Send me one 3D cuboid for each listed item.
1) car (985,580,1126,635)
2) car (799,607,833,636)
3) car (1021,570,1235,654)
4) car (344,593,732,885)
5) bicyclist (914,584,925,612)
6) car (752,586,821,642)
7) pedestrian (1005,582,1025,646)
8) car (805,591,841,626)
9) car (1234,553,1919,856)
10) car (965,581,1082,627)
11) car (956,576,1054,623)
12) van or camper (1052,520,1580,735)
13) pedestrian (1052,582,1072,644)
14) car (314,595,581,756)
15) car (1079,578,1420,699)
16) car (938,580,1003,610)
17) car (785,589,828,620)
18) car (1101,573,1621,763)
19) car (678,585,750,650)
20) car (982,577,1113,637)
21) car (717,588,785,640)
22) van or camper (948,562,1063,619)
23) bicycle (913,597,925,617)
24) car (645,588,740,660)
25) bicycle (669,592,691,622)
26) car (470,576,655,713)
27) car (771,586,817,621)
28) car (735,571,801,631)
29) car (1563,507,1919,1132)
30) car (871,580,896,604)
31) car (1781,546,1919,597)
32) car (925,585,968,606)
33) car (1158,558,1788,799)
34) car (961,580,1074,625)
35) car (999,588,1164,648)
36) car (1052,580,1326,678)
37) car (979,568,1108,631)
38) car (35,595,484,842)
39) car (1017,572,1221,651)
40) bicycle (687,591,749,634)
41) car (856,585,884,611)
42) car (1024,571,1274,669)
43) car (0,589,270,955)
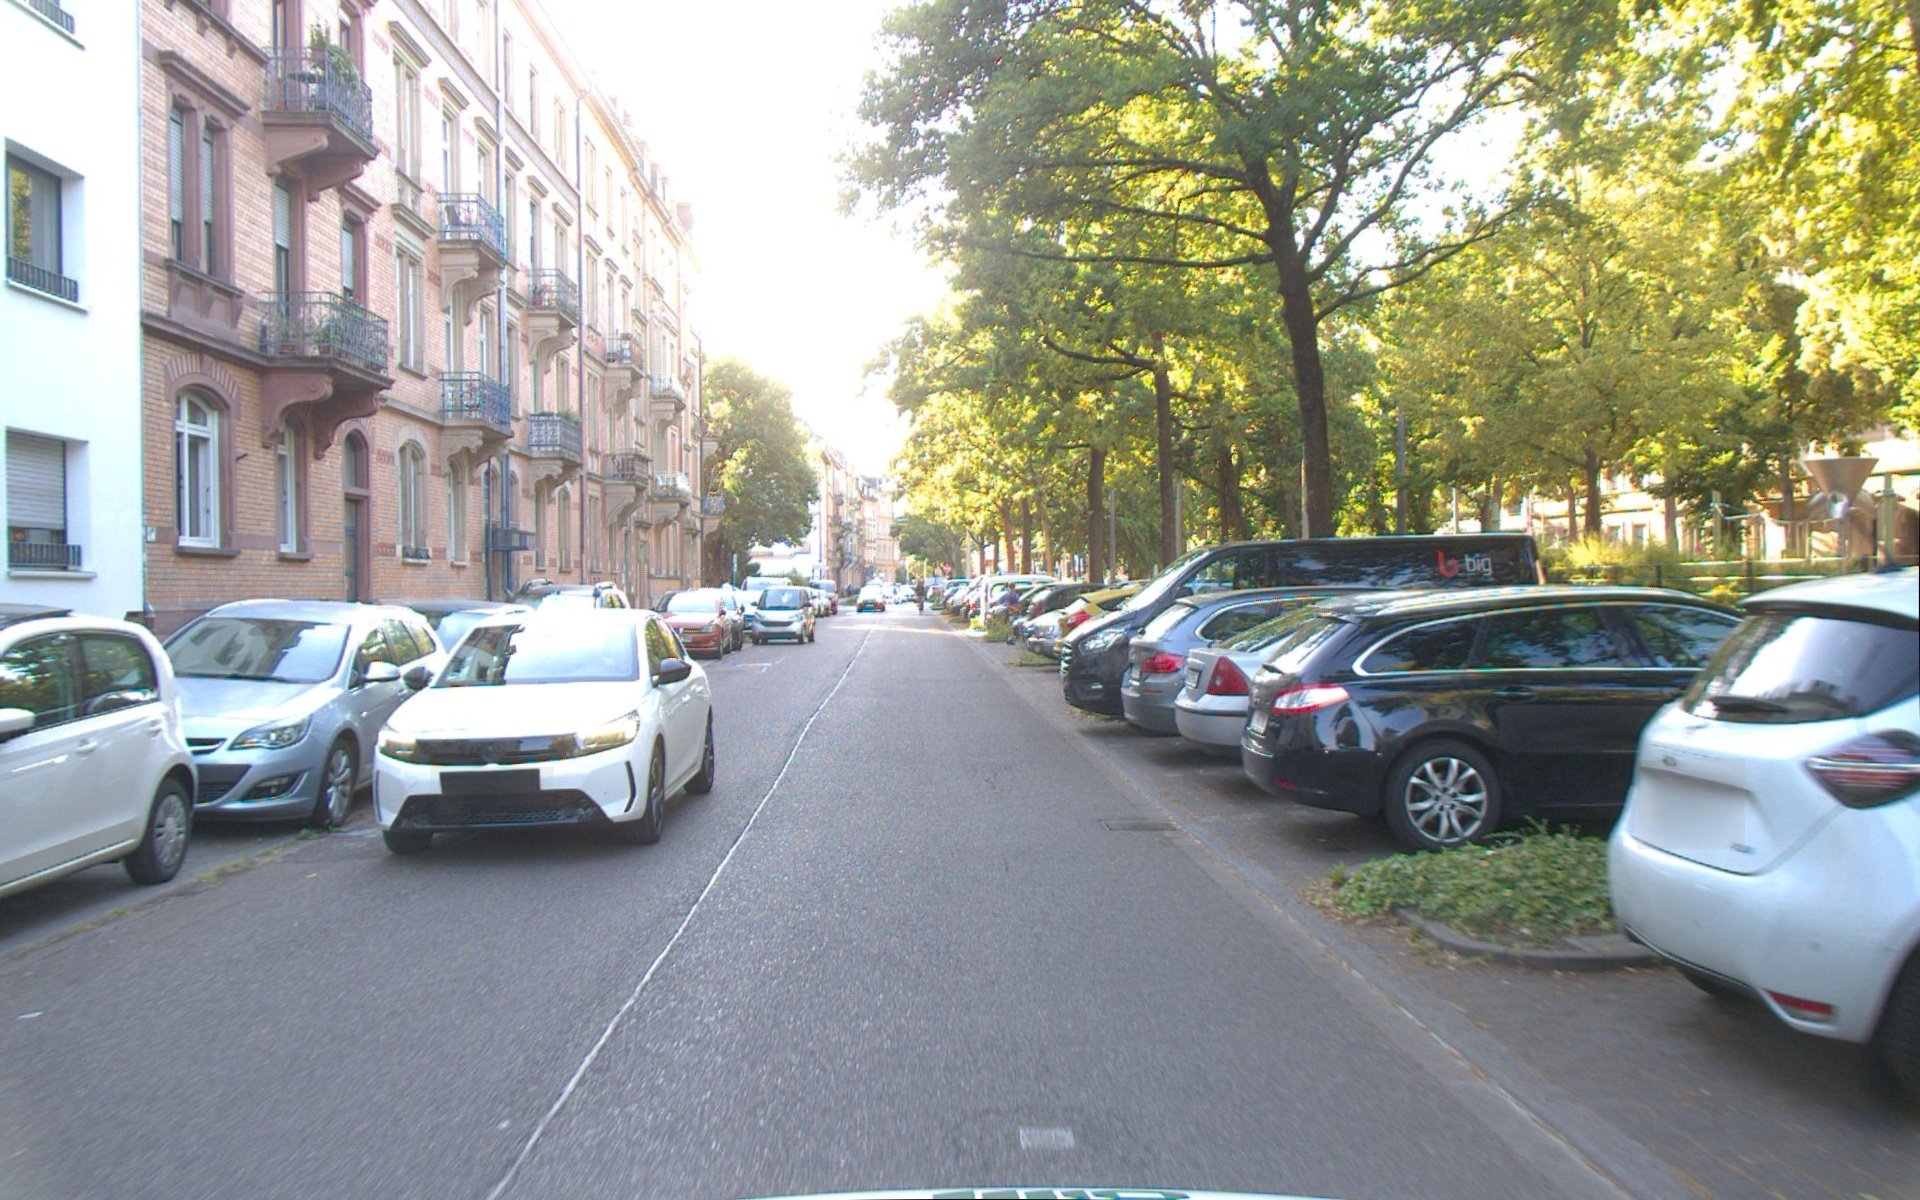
[{"bbox_3d":[2.851,0.217,49.907,4.002,1.467,1.760,-3,0,-5],"label":"car"},{"bbox_3d":[-8.058,1.196,92.946,1.721,1.491,4.266,0,0,-2],"label":"car"},{"bbox_3d":[3.527,0.244,35.220,4.310,1.619,1.837,-2,0,-1],"label":"car"},{"bbox_3d":[-2.651,0.776,11.335,1.635,1.455,4.000,-3,2,-1],"label":"car"},{"bbox_3d":[-2.333,-0.098,94.834,0.615,1.601,0.801,0,-1,-3],"label":"bicyclist"},{"bbox_3d":[-4.822,0.367,46.274,1.473,1.460,2.754,-2,1,3],"label":"car"},{"bbox_3d":[1.405,0.367,42.458,0.372,1.612,0.519,0,2,17],"label":"pedestrian"},{"bbox_3d":[-8.133,0.492,98.479,1.918,2.053,4.266,0,0,-2],"label":"car"},{"bbox_3d":[3.965,0.600,10.136,4.307,1.605,1.665,-2,-1,3],"label":"car"},{"bbox_3d":[2.312,0.142,60.024,4.132,1.478,1.649,-3,0,2],"label":"car"},{"bbox_3d":[1.825,-0.034,67.982,3.906,1.721,1.859,-3,0,-1],"label":"car"},{"bbox_3d":[3.735,0.269,18.101,5.303,2.062,2.030,-2,1,0],"label":"van or camper"},{"bbox_3d":[2.610,0.331,42.320,0.372,1.543,0.519,0,2,17],"label":"pedestrian"},{"bbox_3d":[-5.352,0.717,17.785,1.582,1.477,4.000,1,1,0],"label":"car"},{"bbox_3d":[3.917,0.514,22.859,4.312,1.465,1.836,-2,0,-3],"label":"car"},{"bbox_3d":[0.660,-0.317,102.790,3.909,1.825,1.857,0,-1,-5],"label":"car"},{"bbox_3d":[-7.813,0.211,84.293,1.720,1.491,4.268,0,0,1],"label":"car"},{"bbox_3d":[3.616,0.600,15.392,4.313,1.527,1.836,-2,-1,-5],"label":"car"},{"bbox_3d":[-6.296,0.420,42.479,1.714,1.573,4.144,1,0,-8],"label":"car"},{"bbox_3d":[2.480,0.188,47.552,3.600,1.527,1.761,-3,0,-1],"label":"car"},{"bbox_3d":[-6.482,0.398,51.693,1.640,1.480,4.209,-2,1,-1],"label":"car"},{"bbox_3d":[1.958,-0.379,72.547,4.883,2.419,2.183,0,-1,-4],"label":"van or camper"},{"bbox_3d":[-2.338,0.406,94.838,0.628,1.119,1.942,0,-1,-3],"label":"bicycle"},{"bbox_3d":[-6.029,0.495,37.645,1.719,1.489,3.997,2,0,-4],"label":"car"},{"bbox_3d":[-11.343,0.301,67.001,0.691,1.167,1.887,0,-1,-5],"label":"bicycle"},{"bbox_3d":[-5.427,0.550,23.070,1.716,1.735,4.198,0,0,-2],"label":"car"},{"bbox_3d":[-7.377,0.143,73.770,1.669,1.454,3.877,1,0,0],"label":"car"},{"bbox_3d":[-6.630,0.080,57.603,1.954,1.955,5.036,0,-1,-3],"label":"car"},{"bbox_3d":[4.129,0.554,5.350,3.705,1.675,1.664,-2,-1,-2],"label":"car"},{"bbox_3d":[-6.245,-0.661,134.648,1.954,1.870,3.997,0,-1,-3],"label":"car"},{"bbox_3d":[31.474,-0.989,58.497,3.907,1.713,1.999,0,-1,-2],"label":"car"},{"bbox_3d":[-1.303,-0.432,160.226,3.902,2.049,2.001,0,-1,9],"label":"car"},{"bbox_3d":[3.796,0.582,12.765,4.309,1.605,1.664,-2,-1,0],"label":"car"},{"bbox_3d":[2.159,0.085,62.914,4.134,1.478,1.864,-3,0,-1],"label":"car"},{"bbox_3d":[2.877,0.409,39.712,3.766,1.301,1.690,-2,0,-3],"label":"car"},{"bbox_3d":[3.764,0.468,27.693,4.309,1.465,1.838,-2,0,0],"label":"car"},{"bbox_3d":[2.761,-0.033,55.365,4.134,1.896,1.761,-3,0,-1],"label":"car"},{"bbox_3d":[-5.065,0.746,12.655,1.634,1.497,4.283,2,0,-1],"label":"car"},{"bbox_3d":[3.596,0.256,37.825,4.315,1.619,1.835,-2,0,-7],"label":"car"},{"bbox_3d":[-6.941,0.358,47.471,1.728,1.236,0.428,0,-1,-3],"label":"bicycle"},{"bbox_3d":[-5.561,-0.154,102.633,1.635,1.489,3.998,-2,1,-3],"label":"car"},{"bbox_3d":[3.411,0.357,30.438,4.311,1.619,1.837,-2,0,-3],"label":"car"},{"bbox_3d":[-5.014,0.743,8.129,1.635,1.534,3.998,2,0,-2],"label":"car"}]
